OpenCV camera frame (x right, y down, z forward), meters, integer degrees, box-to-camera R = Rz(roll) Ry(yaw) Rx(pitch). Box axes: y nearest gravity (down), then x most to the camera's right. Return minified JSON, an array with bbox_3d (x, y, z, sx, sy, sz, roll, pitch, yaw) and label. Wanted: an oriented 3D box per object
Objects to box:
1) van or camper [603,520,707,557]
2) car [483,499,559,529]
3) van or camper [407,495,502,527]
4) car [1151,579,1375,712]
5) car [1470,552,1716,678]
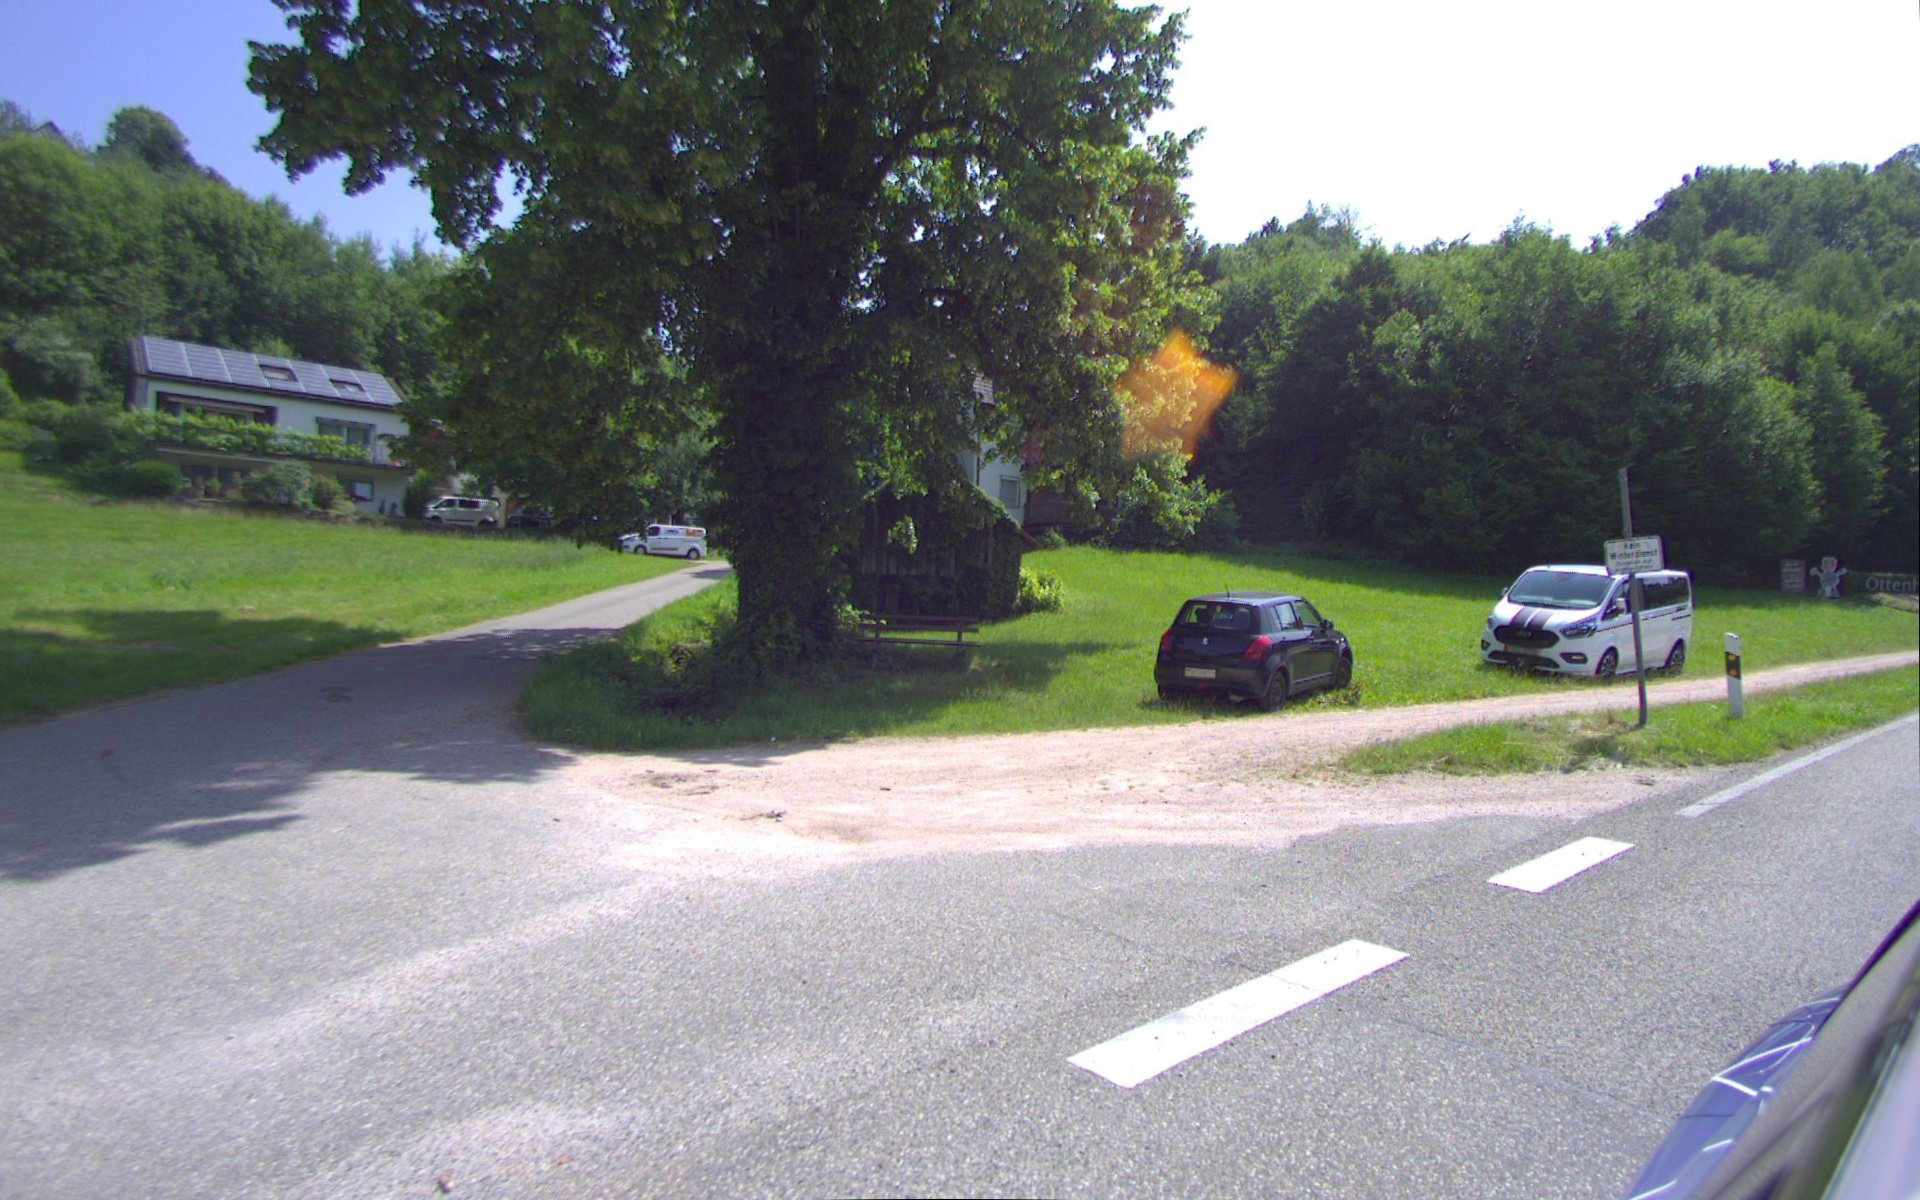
[{"bbox_3d":[-18.284,-3.626,60.778,5.335,1.974,2.817,0,1,-37],"label":"van or camper"},{"bbox_3d":[-30.388,-5.933,70.140,1.921,1.634,4.383,2,0,44],"label":"car"},{"bbox_3d":[-31.585,-5.512,63.345,2.026,1.662,4.967,2,2,44],"label":"van or camper"},{"bbox_3d":[4.340,0.512,14.211,1.672,1.474,3.663,4,5,40],"label":"car"},{"bbox_3d":[11.581,0.194,18.415,4.777,1.870,2.007,0,6,-36],"label":"car"}]
